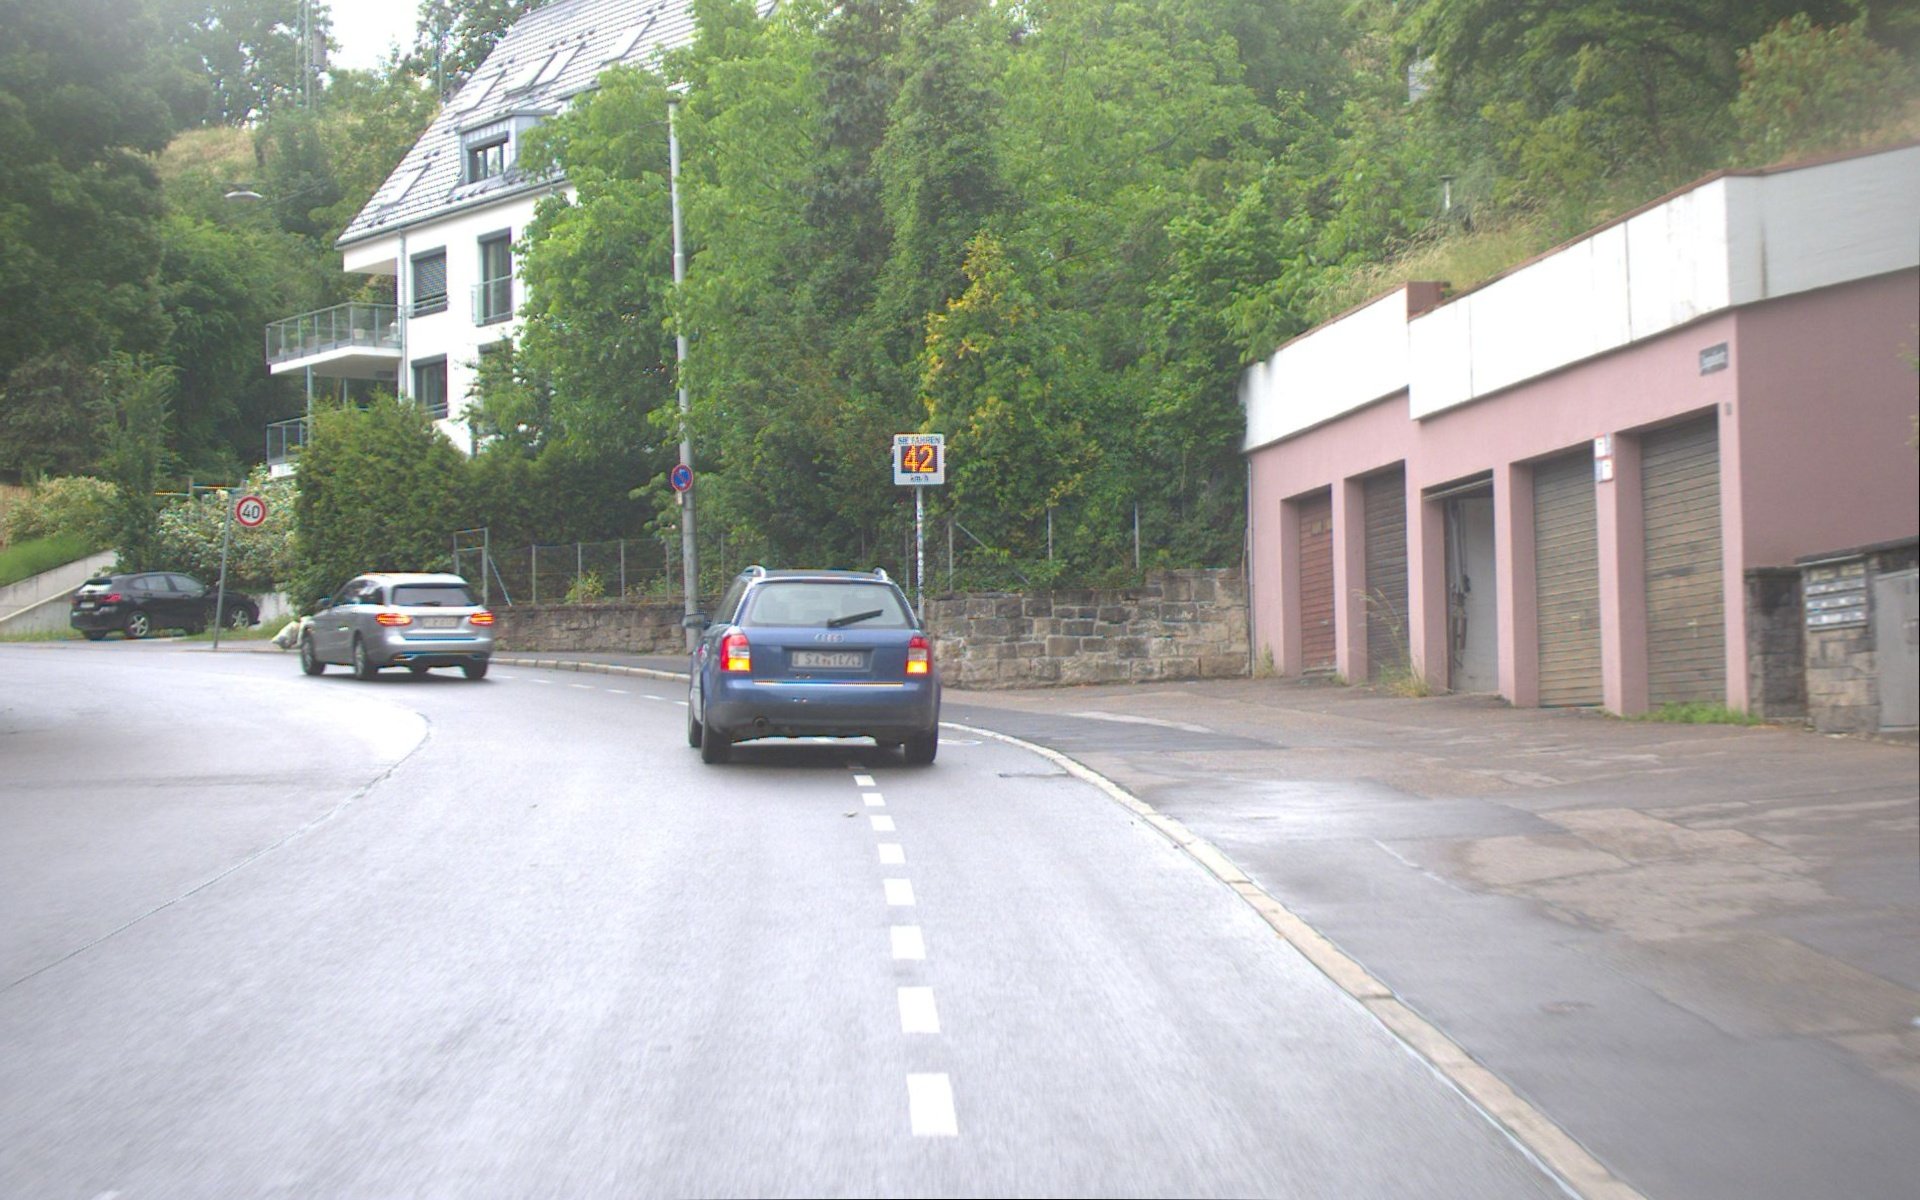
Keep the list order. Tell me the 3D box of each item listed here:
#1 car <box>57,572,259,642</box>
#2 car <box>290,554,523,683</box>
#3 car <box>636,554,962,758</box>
[{"bbox_3d":[-17.647,0.132,75.787,1.739,1.503,4.173,0,1,38],"label":"car"},{"bbox_3d":[-7.806,0.232,48.166,1.949,1.556,4.264,3,1,-27],"label":"car"},{"bbox_3d":[-1.329,0.360,26.372,1.853,1.409,4.363,0,1,-11],"label":"car"}]
